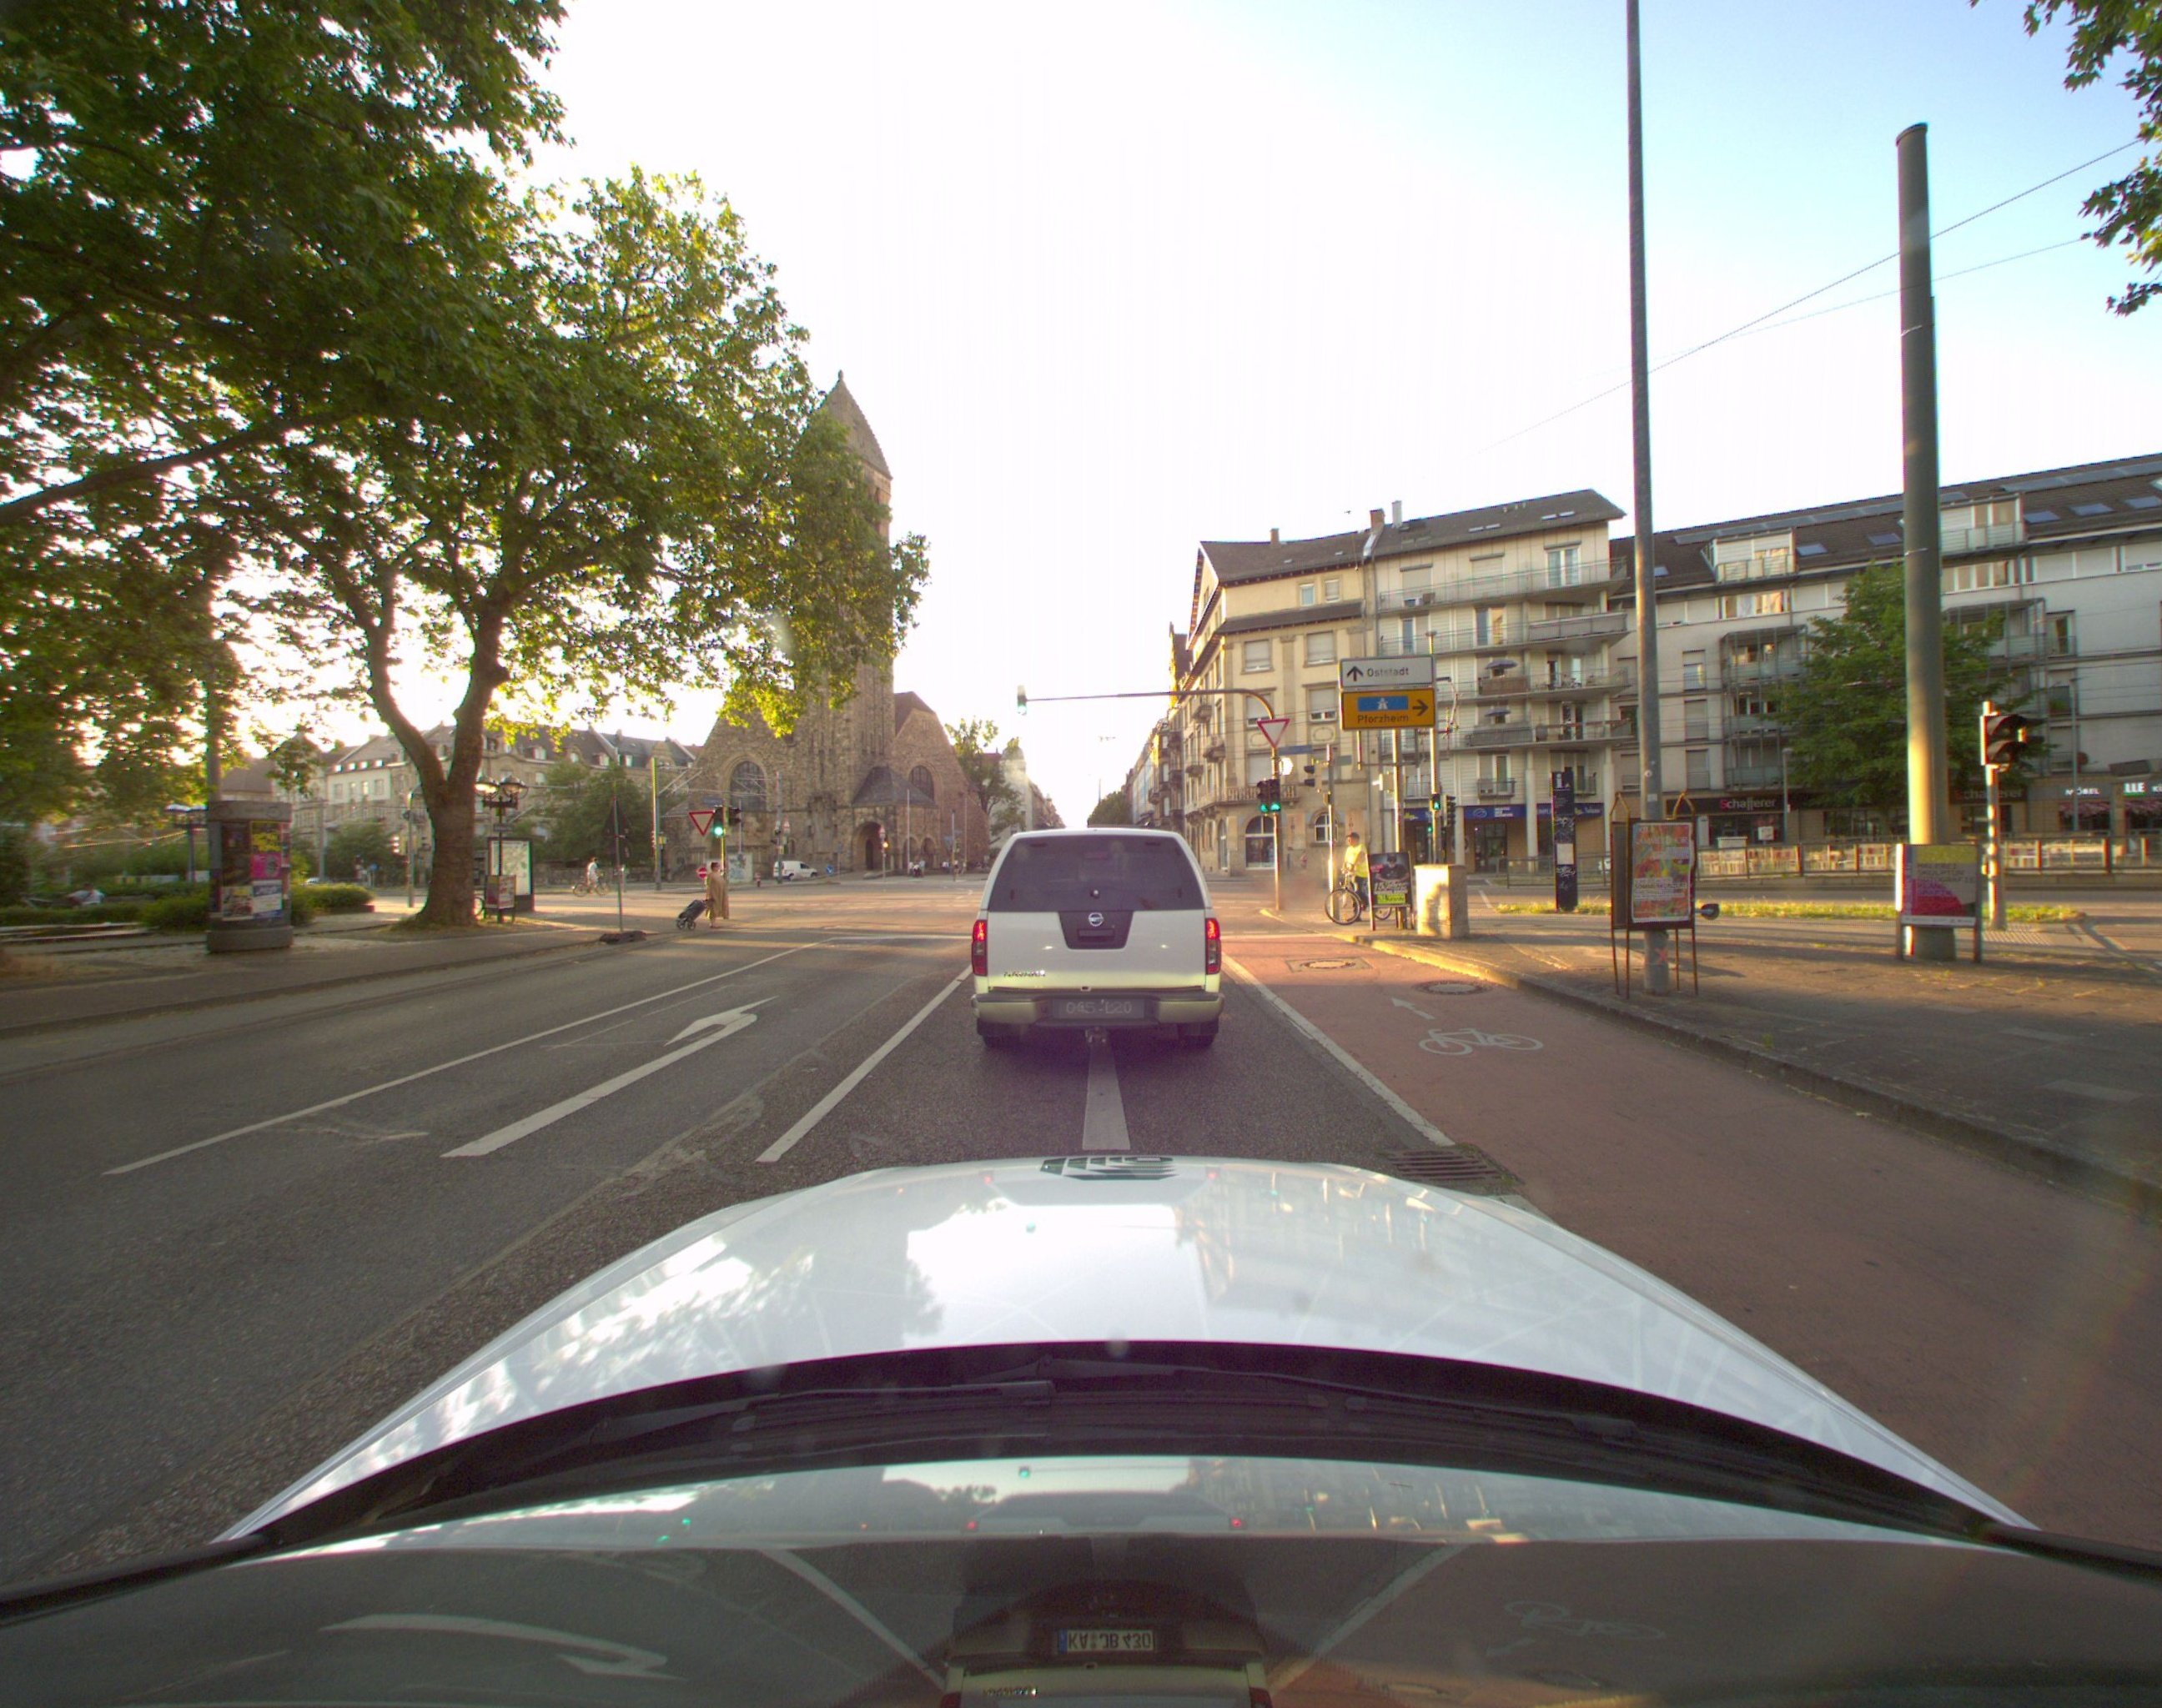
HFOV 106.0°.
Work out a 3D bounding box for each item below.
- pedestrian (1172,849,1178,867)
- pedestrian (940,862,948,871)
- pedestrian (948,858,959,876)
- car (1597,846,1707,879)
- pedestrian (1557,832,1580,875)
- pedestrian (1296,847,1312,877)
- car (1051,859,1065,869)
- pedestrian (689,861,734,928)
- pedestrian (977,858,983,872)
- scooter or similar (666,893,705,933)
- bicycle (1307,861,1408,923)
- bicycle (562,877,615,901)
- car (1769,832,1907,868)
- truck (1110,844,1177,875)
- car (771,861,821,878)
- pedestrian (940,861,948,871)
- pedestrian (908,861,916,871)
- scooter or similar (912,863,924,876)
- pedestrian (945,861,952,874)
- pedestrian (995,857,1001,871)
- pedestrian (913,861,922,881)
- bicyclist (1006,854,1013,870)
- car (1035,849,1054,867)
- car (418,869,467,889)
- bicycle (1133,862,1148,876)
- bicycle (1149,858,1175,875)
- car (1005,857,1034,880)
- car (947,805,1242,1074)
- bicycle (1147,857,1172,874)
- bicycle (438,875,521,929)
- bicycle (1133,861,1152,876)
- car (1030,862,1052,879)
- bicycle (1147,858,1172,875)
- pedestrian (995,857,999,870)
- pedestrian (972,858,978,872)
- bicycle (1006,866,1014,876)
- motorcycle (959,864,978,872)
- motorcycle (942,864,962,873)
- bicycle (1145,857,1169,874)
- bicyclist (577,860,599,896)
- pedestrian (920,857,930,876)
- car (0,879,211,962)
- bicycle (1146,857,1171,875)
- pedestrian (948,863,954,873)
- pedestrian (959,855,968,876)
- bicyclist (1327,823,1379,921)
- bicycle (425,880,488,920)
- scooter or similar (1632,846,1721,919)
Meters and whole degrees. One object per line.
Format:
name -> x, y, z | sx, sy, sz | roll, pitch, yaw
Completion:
pedestrian -> 8.921, 0.395, 77.126 | 0.525, 1.654, 0.547 | 0, -1, 1
pedestrian -> -14.989, 1.389, 89.060 | 0.547, 0.960, 0.713 | -1, -1, 22
pedestrian -> -11.853, 1.217, 75.658 | 0.809, 1.669, 0.859 | 0, -1, -1
car -> 26.570, 0.422, 38.069 | 3.950, 1.486, 1.860 | -1, -1, 26
pedestrian -> 25.586, -0.005, 42.726 | 0.860, 2.209, 0.825 | -1, -1, 21
pedestrian -> 13.176, 0.479, 48.131 | 0.779, 1.779, 0.546 | -1, -1, 27
car -> -3.411, 1.472, 119.993 | 1.852, 1.529, 4.001 | 0, -1, 1
pedestrian -> -9.268, 0.996, 20.435 | 0.800, 1.628, 0.773 | 0, -1, -3
pedestrian -> -12.458, 1.344, 100.311 | 0.640, 1.695, 0.562 | 0, -1, 1
scooter or similar -> -9.476, 1.397, 19.532 | 0.591, 0.898, 0.849 | 0, -1, -9
bicycle -> 5.321, 0.699, 15.629 | 2.079, 1.109, 0.622 | 0, -1, -31
bicycle -> -25.243, 1.779, 41.770 | 0.651, 1.077, 2.258 | 4, 3, 45
car -> 32.679, -0.145, 35.314 | 3.952, 1.486, 1.859 | -1, -1, 21
truck -> 5.325, 0.445, 68.839 | 5.704, 2.565, 2.260 | 0, -1, -42
car -> -26.350, 1.440, 75.356 | 1.698, 1.517, 4.481 | -1, -1, 26
pedestrian -> -13.610, 1.164, 80.907 | 0.517, 0.960, 0.481 | -1, -1, 19
pedestrian -> -15.667, 1.106, 75.518 | 0.517, 0.960, 0.482 | -1, -1, 21
scooter or similar -> -14.298, 1.361, 71.341 | 0.629, 1.103, 1.082 | 0, -1, 13
pedestrian -> -13.357, 1.364, 82.264 | 0.474, 1.245, 0.526 | -1, -1, 19
pedestrian -> -10.823, 1.334, 106.281 | 0.643, 1.855, 0.559 | 0, -1, -13
pedestrian -> -14.530, 1.513, 72.338 | 0.630, 1.698, 0.604 | -1, -1, 10
bicyclist -> -7.308, 0.834, 83.408 | 0.597, 1.645, 0.963 | 0, -1, 1
car -> -4.322, 0.496, 97.192 | 1.987, 2.014, 4.950 | -2, -1, 0
car -> -61.586, 2.413, 78.581 | 3.951, 1.618, 2.011 | -4, -2, 23
bicycle -> 4.644, 1.149, 63.630 | 1.073, 1.024, 0.317 | -4, -1, -1
bicycle -> 6.209, 0.945, 62.247 | 1.812, 1.150, 0.636 | -5, -1, -1
car -> -5.046, 1.142, 67.171 | 1.987, 1.784, 4.798 | -1, 0, 0
car -> 0.151, 0.603, 7.491 | 1.986, 1.809, 4.001 | 0, -1, 2
bicycle -> 6.221, 0.905, 64.627 | 1.812, 1.238, 0.412 | -5, -1, -1
bicycle -> -15.825, 1.229, 21.504 | 0.522, 1.326, 1.998 | -1, -1, 7
bicycle -> 4.858, 1.142, 64.337 | 1.367, 1.024, 0.317 | -4, -1, -1
car -> -4.030, 1.650, 82.355 | 1.987, 1.558, 4.768 | -2, 1, 0
bicycle -> 6.119, 0.972, 63.190 | 1.812, 1.238, 0.488 | -5, -1, -1
pedestrian -> -11.047, 1.264, 107.127 | 0.559, 1.695, 0.643 | 0, -1, -6
pedestrian -> -12.759, 1.356, 98.101 | 0.642, 1.695, 0.560 | 0, -1, -7
bicycle -> -7.281, 1.703, 83.349 | 0.597, 1.043, 1.945 | 0, -1, 1
motorcycle -> -13.348, 1.684, 96.511 | 2.146, 0.988, 0.597 | -1, -1, 21
motorcycle -> -14.602, 1.634, 92.222 | 2.239, 0.988, 0.707 | 0, -1, -4
bicycle -> 6.142, 0.924, 65.765 | 1.849, 1.238, 0.530 | -5, -1, -1
bicyclist -> -25.272, 1.220, 41.752 | 0.864, 1.827, 0.651 | -1, 2, -43
pedestrian -> -13.865, 1.115, 72.314 | 0.629, 1.698, 0.605 | -1, -1, 12
car -> -26.740, 1.738, 21.523 | 1.975, 1.781, 4.669 | -3, 1, 27
bicycle -> 6.098, 0.930, 63.903 | 1.812, 1.238, 0.477 | -5, -1, -1
pedestrian -> -12.903, 1.357, 80.768 | 0.522, 0.960, 0.477 | 0, -1, -14
pedestrian -> -10.934, 1.074, 75.803 | 0.809, 1.901, 0.666 | 0, -1, -1
bicyclist -> 5.190, 0.338, 15.555 | 0.701, 1.824, 0.622 | 0, -1, -31
bicycle -> -18.053, 1.310, 23.584 | 0.456, 1.093, 1.798 | 0, -1, 0
scooter or similar -> 10.618, 0.491, 14.545 | 1.219, 1.249, 0.518 | -1, -1, 41
